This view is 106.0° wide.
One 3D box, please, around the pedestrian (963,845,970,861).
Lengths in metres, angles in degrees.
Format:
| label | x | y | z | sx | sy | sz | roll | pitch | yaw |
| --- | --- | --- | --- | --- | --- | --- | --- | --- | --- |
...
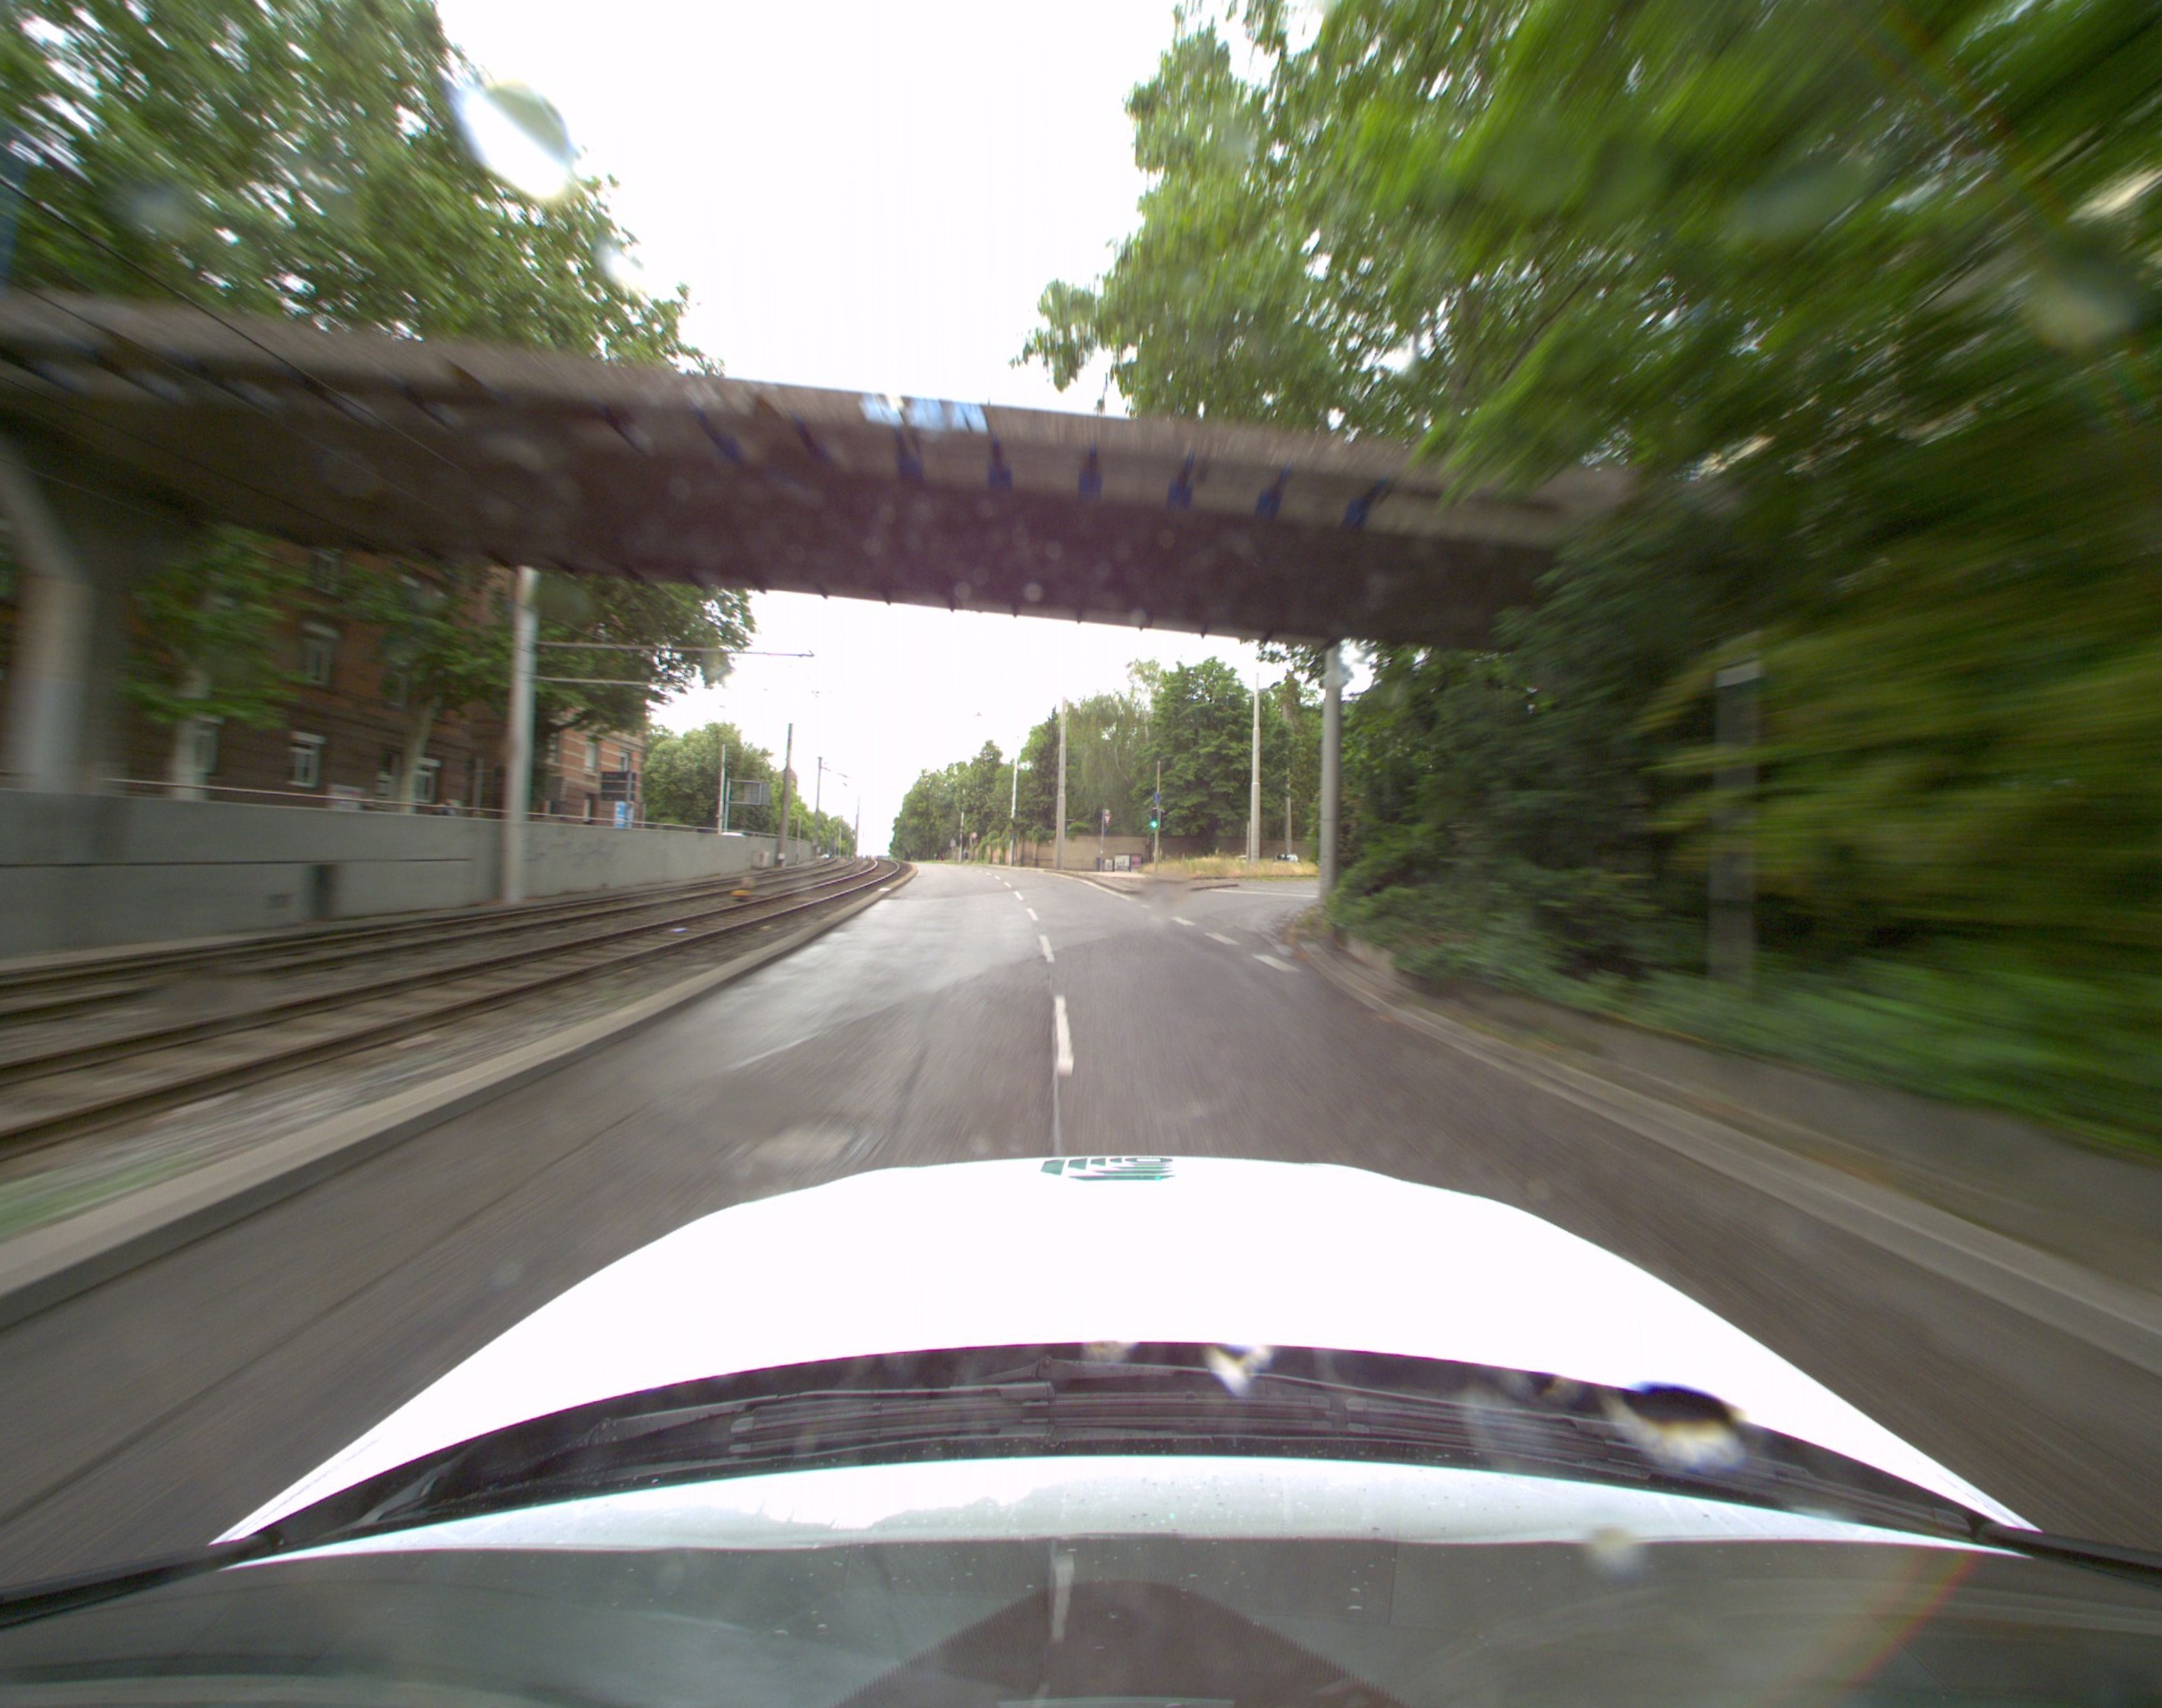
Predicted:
| label | x | y | z | sx | sy | sz | roll | pitch | yaw |
| --- | --- | --- | --- | --- | --- | --- | --- | --- | --- |
| pedestrian | -13.912 | -0.149 | 98.759 | 0.721 | 1.850 | 0.779 | 4 | -2 | -15 |

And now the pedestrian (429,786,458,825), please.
| label | x | y | z | sx | sy | sz | roll | pitch | yaw |
| --- | --- | --- | --- | --- | --- | --- | --- | --- | --- |
| pedestrian | -26.611 | -2.016 | 34.005 | 0.590 | 1.624 | 0.724 | 0 | 0 | 5 |

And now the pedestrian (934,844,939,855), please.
| label | x | y | z | sx | sy | sz | roll | pitch | yaw |
| --- | --- | --- | --- | --- | --- | --- | --- | --- | --- |
| pedestrian | -21.781 | -0.701 | 122.780 | 0.721 | 1.687 | 0.725 | 4 | -2 | -15 |

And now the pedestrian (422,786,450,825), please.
| label | x | y | z | sx | sy | sz | roll | pitch | yaw |
| --- | --- | --- | --- | --- | --- | --- | --- | --- | --- |
| pedestrian | -27.315 | -2.053 | 34.510 | 0.590 | 1.624 | 0.724 | 0 | 0 | 5 |

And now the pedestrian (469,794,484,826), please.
| label | x | y | z | sx | sy | sz | roll | pitch | yaw |
| --- | --- | --- | --- | --- | --- | --- | --- | --- | --- |
| pedestrian | -25.784 | -1.857 | 34.737 | 0.334 | 1.334 | 0.503 | 0 | 0 | -9 |

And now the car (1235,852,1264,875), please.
| label | x | y | z | sx | sy | sz | roll | pitch | yaw |
| --- | --- | --- | --- | --- | --- | --- | --- | --- | --- |
| car | 11.032 | 0.648 | 53.478 | 1.742 | 1.406 | 4.011 | 1 | -1 | 10 |

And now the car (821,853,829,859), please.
| label | x | y | z | sx | sy | sz | roll | pitch | yaw |
| --- | --- | --- | --- | --- | --- | --- | --- | --- | --- |
| car | -71.327 | 0.483 | 227.121 | 1.797 | 1.510 | 3.830 | 2 | 0 | -14 |
